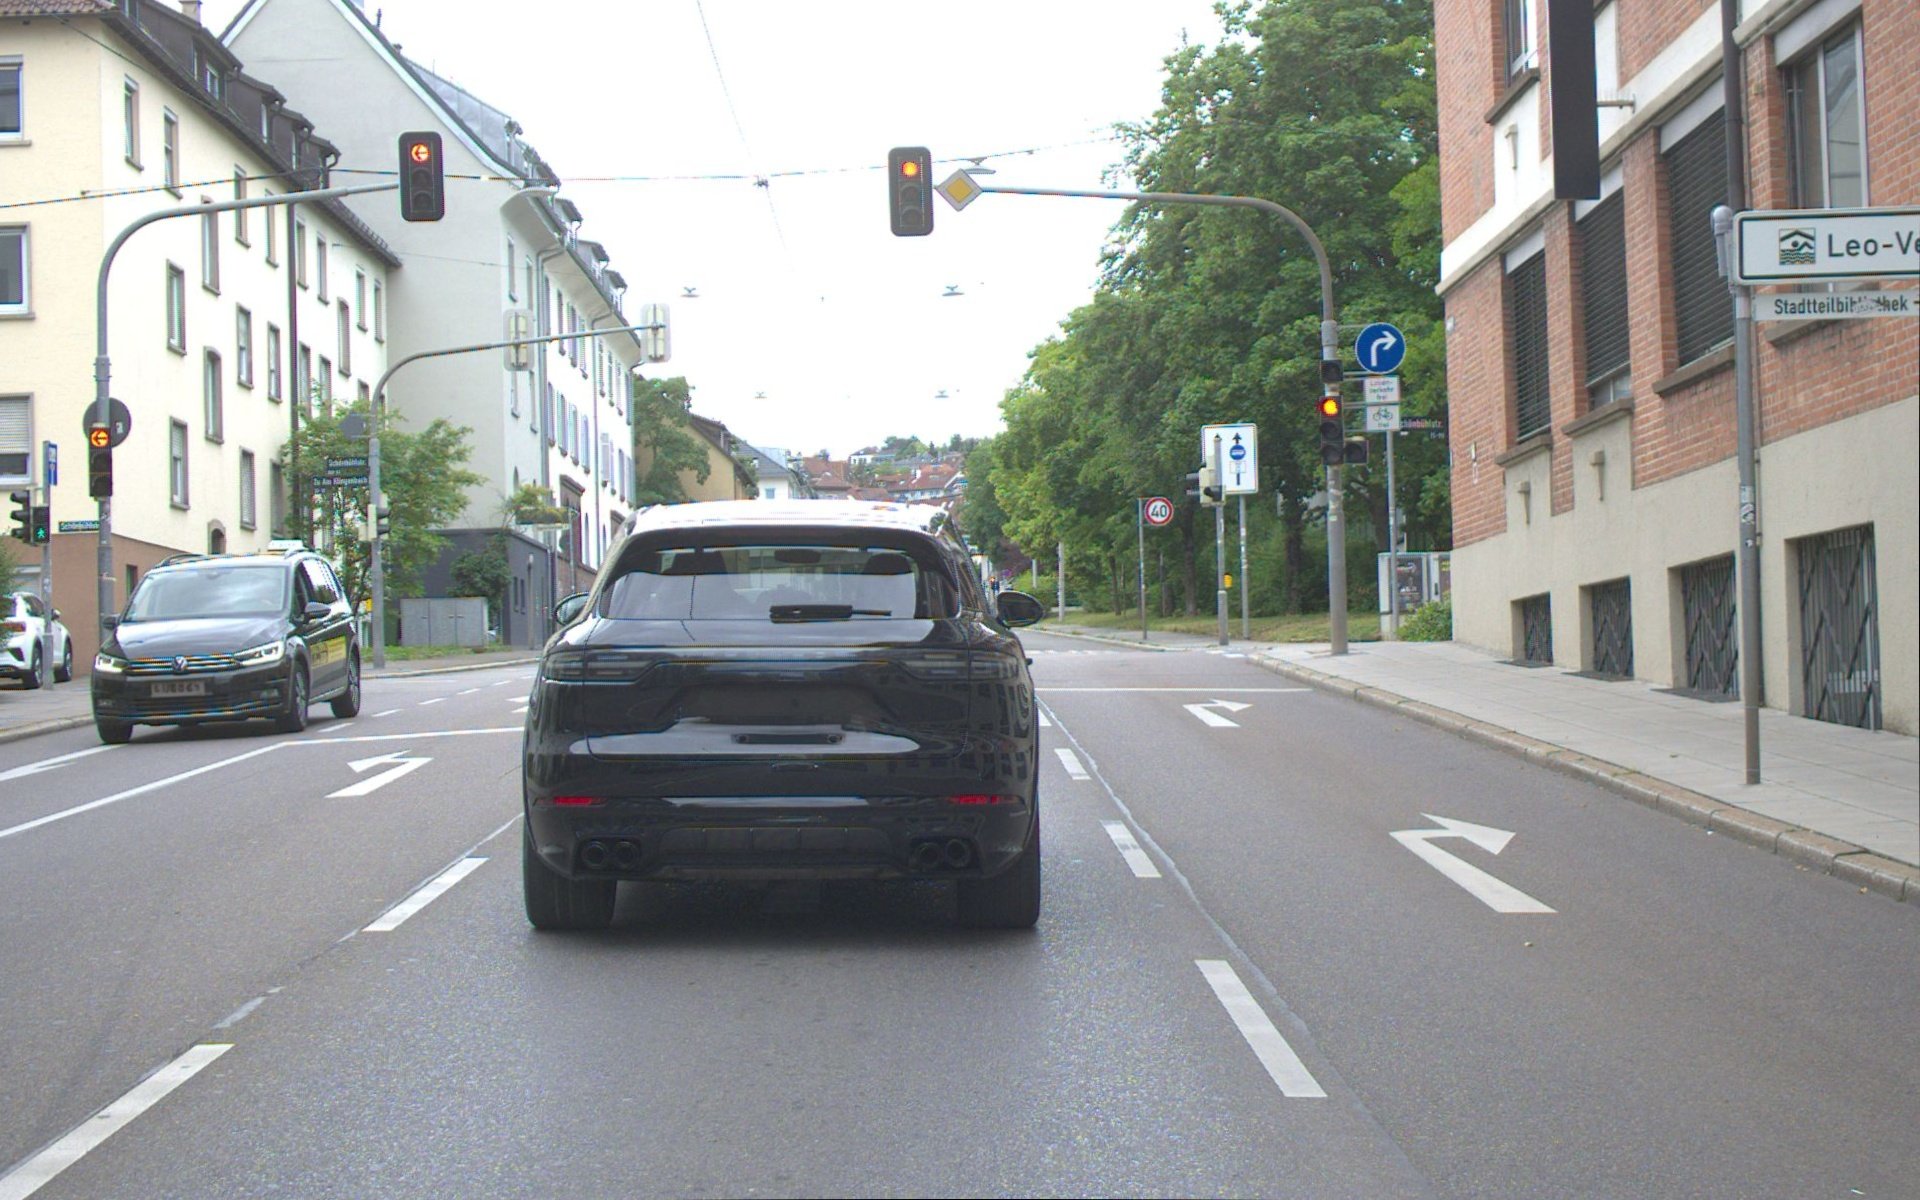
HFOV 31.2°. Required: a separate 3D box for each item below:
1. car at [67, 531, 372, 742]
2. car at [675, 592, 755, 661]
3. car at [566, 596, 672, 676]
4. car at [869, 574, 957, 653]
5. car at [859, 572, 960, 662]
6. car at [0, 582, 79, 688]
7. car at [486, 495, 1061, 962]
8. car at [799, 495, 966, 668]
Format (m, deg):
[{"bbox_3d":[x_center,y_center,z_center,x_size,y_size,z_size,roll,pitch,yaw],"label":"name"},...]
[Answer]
[{"bbox_3d":[-6.711,0.281,31.590,1.784,1.701,4.307,-4,1,0],"label":"car"},{"bbox_3d":[-6.307,0.664,88.752,1.703,1.581,3.936,-4,1,0],"label":"car"},{"bbox_3d":[-6.845,0.708,69.289,1.673,1.395,3.794,-4,1,0],"label":"car"},{"bbox_3d":[-0.981,0.269,73.549,1.827,1.599,3.859,0,1,0],"label":"car"},{"bbox_3d":[-0.928,0.293,64.674,1.827,1.599,4.135,0,1,0],"label":"car"},{"bbox_3d":[-15.250,0.563,54.615,1.690,1.550,3.767,-4,1,-4],"label":"car"},{"bbox_3d":[-0.670,0.421,14.424,2.048,1.660,4.267,0,1,0],"label":"car"},{"bbox_3d":[-0.914,-0.255,42.524,1.965,2.035,4.135,0,1,0],"label":"car"}]
